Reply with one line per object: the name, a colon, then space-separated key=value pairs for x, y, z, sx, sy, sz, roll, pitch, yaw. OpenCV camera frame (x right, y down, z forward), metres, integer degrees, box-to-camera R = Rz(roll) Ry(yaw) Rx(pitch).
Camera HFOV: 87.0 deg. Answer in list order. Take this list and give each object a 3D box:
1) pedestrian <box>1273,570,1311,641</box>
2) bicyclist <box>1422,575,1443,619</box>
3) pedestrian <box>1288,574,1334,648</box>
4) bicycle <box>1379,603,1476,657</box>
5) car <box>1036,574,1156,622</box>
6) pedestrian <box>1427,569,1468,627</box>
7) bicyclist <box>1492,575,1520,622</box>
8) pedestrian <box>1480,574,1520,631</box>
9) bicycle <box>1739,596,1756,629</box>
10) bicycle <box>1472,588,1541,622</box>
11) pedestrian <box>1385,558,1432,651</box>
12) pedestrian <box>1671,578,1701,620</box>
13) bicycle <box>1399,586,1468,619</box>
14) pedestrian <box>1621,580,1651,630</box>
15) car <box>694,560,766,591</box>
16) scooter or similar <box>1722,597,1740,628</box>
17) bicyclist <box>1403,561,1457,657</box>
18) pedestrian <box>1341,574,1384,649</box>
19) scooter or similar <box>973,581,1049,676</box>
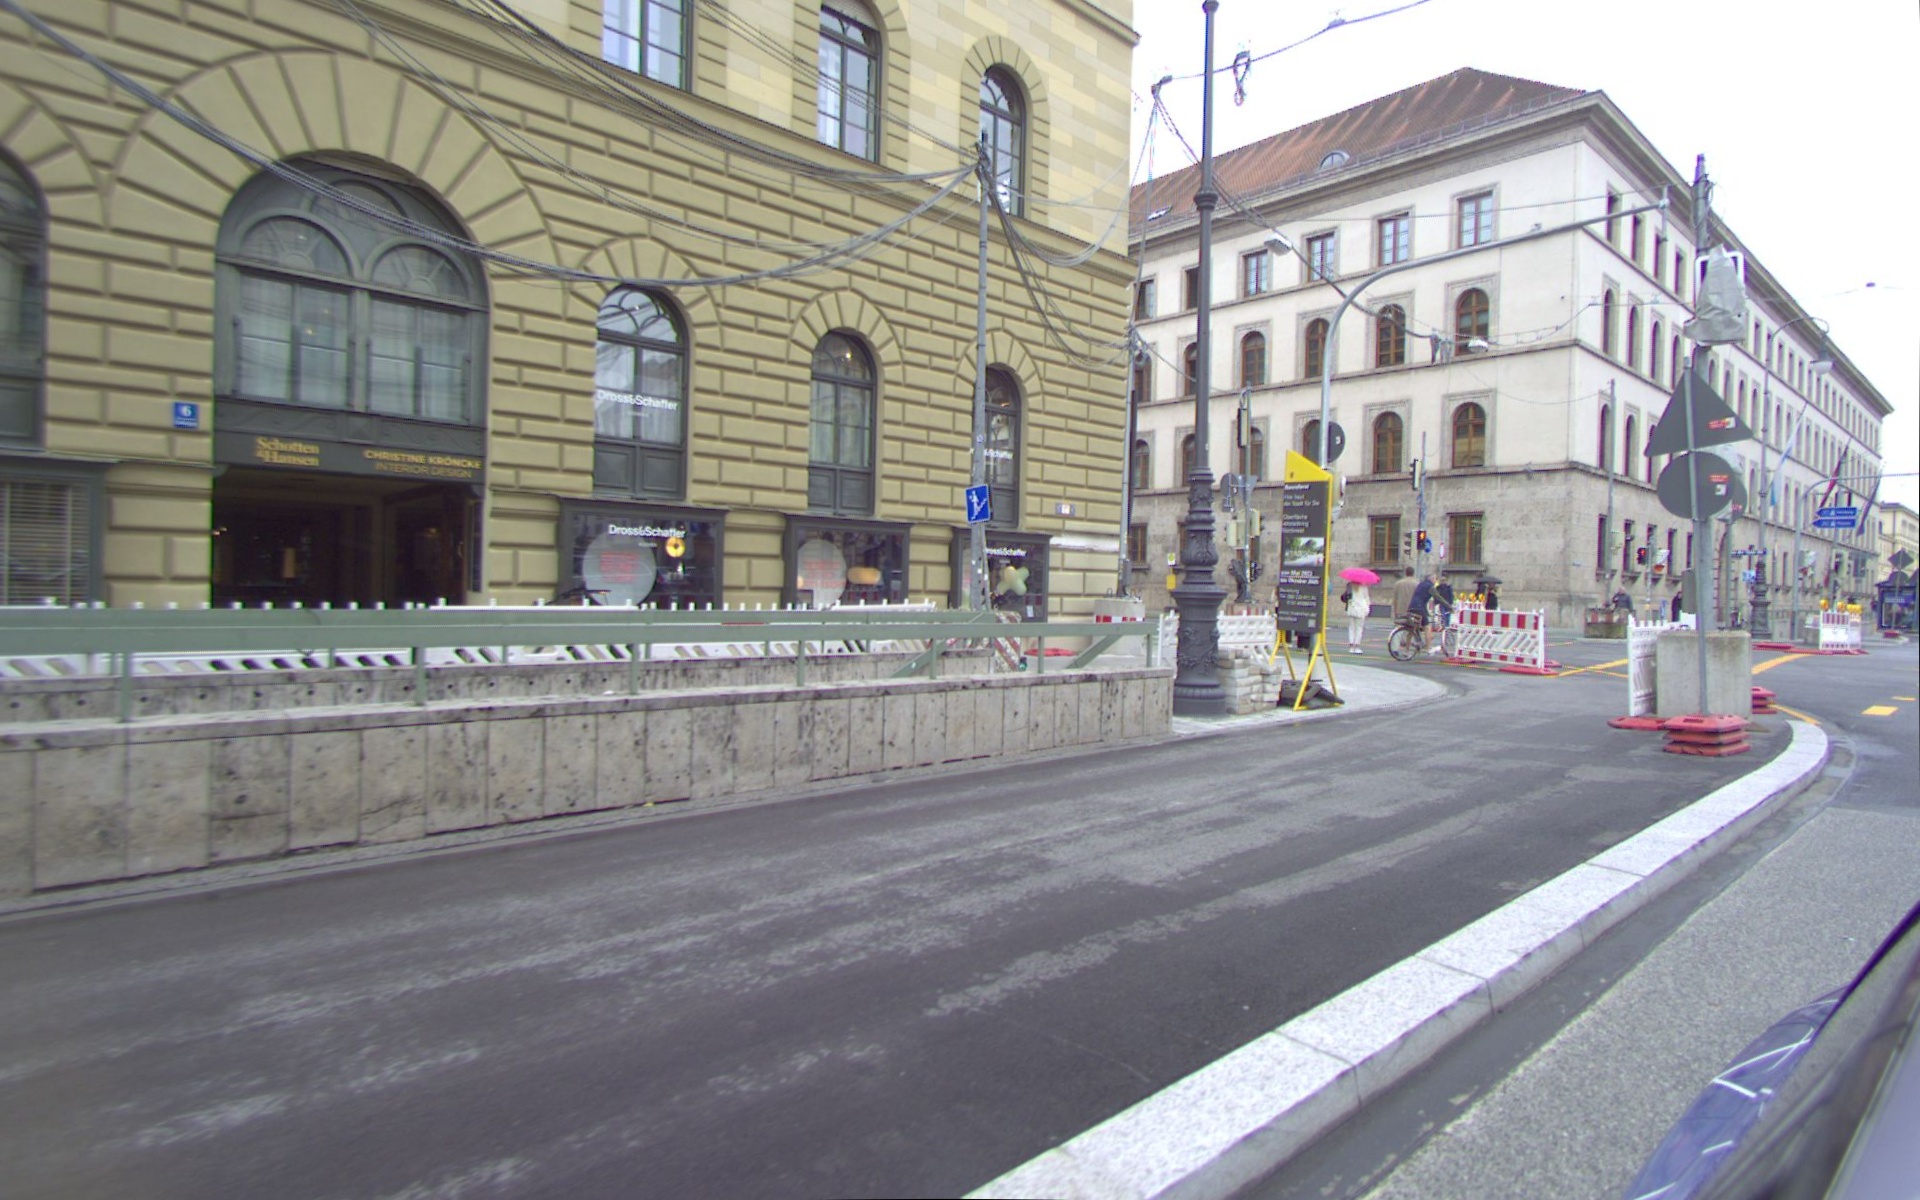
pedestrian: x=7.743 y=0.112 z=23.610 sx=0.523 sy=1.640 sz=0.673 roll=-1 pitch=2 yaw=-39
bicyclist: x=19.224 y=-0.136 z=41.150 sx=0.684 sy=1.770 sz=0.792 roll=1 pitch=2 yaw=33
pedestrian: x=7.710 y=0.219 z=22.251 sx=0.692 sy=1.586 sz=0.681 roll=-1 pitch=2 yaw=-39
bicycle: x=9.248 y=0.588 z=20.055 sx=1.625 sy=1.024 sz=0.586 roll=0 pitch=1 yaw=1
car: x=4.588 y=-0.109 z=34.525 sx=1.606 sy=1.522 sz=3.994 roll=-1 pitch=2 yaw=-41
pedestrian: x=15.041 y=-0.070 z=31.242 sx=1.038 sy=1.765 sz=0.507 roll=1 pitch=1 yaw=39
bicyclist: x=21.109 y=-0.079 z=39.131 sx=0.786 sy=1.798 sz=0.688 roll=-1 pitch=2 yaw=-38
pedestrian: x=17.046 y=0.064 z=31.964 sx=0.829 sy=1.794 sz=0.740 roll=0 pitch=1 yaw=-26
bicycle: x=31.361 y=0.494 z=40.289 sx=0.380 sy=1.258 sz=1.959 roll=1 pitch=2 yaw=43
bicycle: x=21.109 y=0.178 z=39.139 sx=0.775 sy=1.258 sz=2.198 roll=-1 pitch=2 yaw=-37
pedestrian: x=9.378 y=0.078 z=21.169 sx=0.692 sy=1.908 sz=0.641 roll=-1 pitch=2 yaw=-37
pedestrian: x=30.067 y=-0.031 z=41.928 sx=0.713 sy=1.674 sz=0.739 roll=0 pitch=4 yaw=-39
bicycle: x=19.241 y=0.097 z=41.148 sx=2.431 sy=1.258 sz=0.780 roll=1 pitch=2 yaw=34
pedestrian: x=23.314 y=0.163 z=34.916 sx=0.735 sy=1.674 sz=0.717 roll=5 pitch=4 yaw=36
car: x=-12.431 y=-1.335 z=54.563 sx=1.965 sy=1.577 sz=4.381 roll=0 pitch=2 yaw=-41
scooter or similar: x=31.033 y=0.498 z=40.706 sx=0.380 sy=1.158 sz=1.959 roll=1 pitch=2 yaw=43
bicyclist: x=9.308 y=0.163 z=20.045 sx=0.784 sy=1.877 sz=0.568 roll=0 pitch=1 yaw=1
pedestrian: x=8.729 y=0.237 z=21.950 sx=0.692 sy=1.586 sz=0.584 roll=-1 pitch=2 yaw=-39
scooter or similar: x=0.720 y=0.381 z=14.114 sx=1.120 sy=1.265 sz=0.351 roll=-1 pitch=2 yaw=-39
